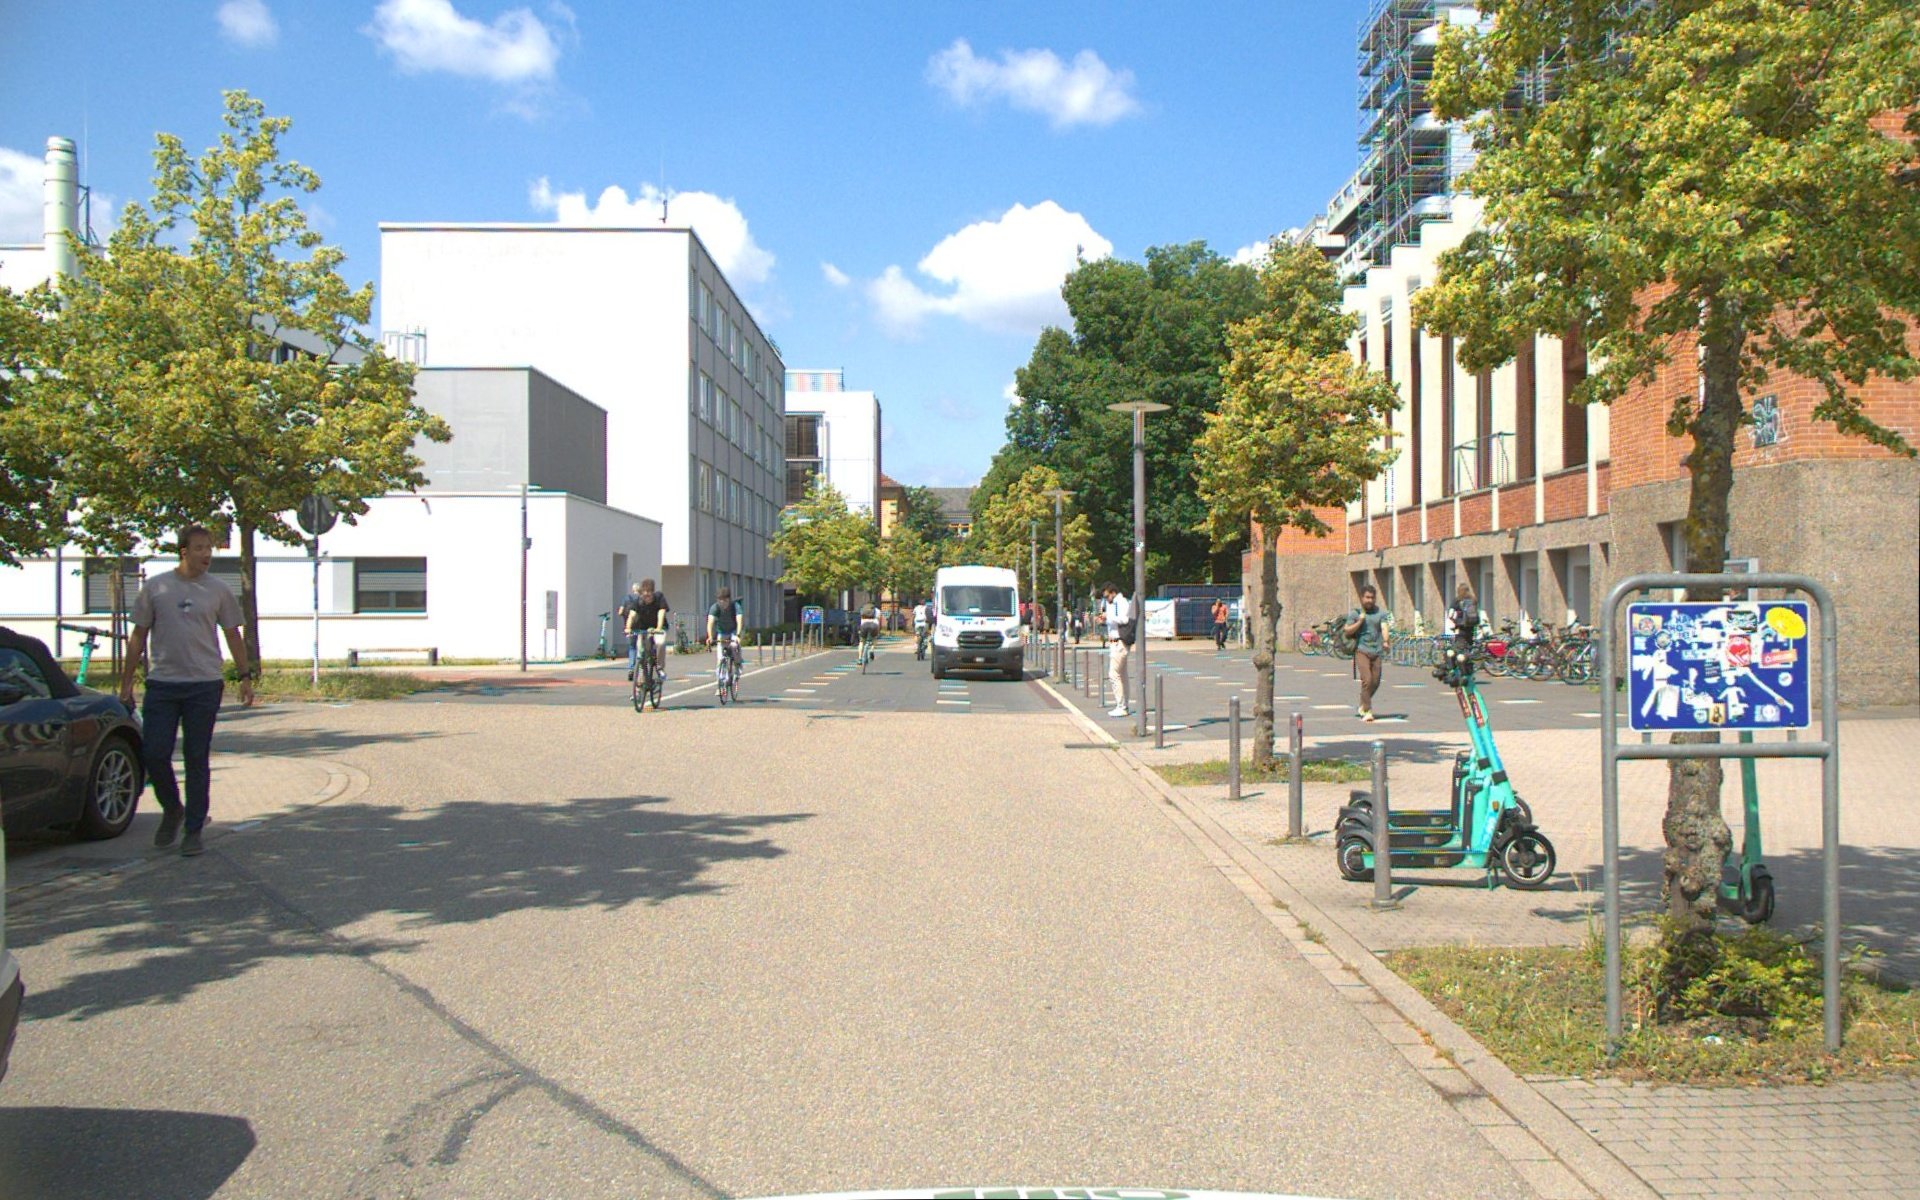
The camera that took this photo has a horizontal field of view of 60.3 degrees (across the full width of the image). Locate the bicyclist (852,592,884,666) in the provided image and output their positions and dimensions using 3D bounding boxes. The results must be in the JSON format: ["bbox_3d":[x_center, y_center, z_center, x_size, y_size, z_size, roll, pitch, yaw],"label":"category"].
[{"bbox_3d":[-2.147,0.674,38.553,0.703,1.691,1.094,0,-1,-4],"label":"bicyclist"}]

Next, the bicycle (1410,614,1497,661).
[{"bbox_3d":[11.062,0.831,37.106,1.772,1.002,0.560,-2,0,-1],"label":"bicycle"}]

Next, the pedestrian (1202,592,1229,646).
[{"bbox_3d":[9.035,0.682,58.492,0.834,1.892,1.117,0,0,5],"label":"pedestrian"}]

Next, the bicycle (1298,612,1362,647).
[{"bbox_3d":[11.085,0.886,49.536,1.772,1.002,0.560,-2,0,-1],"label":"bicycle"}]

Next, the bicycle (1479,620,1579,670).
[{"bbox_3d":[11.273,0.890,32.775,1.772,0.928,0.560,-2,0,-1],"label":"bicycle"}]

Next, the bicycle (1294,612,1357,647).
[{"bbox_3d":[11.152,0.888,50.437,1.772,1.002,0.560,-2,0,-1],"label":"bicycle"}]

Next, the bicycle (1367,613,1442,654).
[{"bbox_3d":[11.573,0.863,43.069,1.772,1.002,0.560,-2,0,-1],"label":"bicycle"}]

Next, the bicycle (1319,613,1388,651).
[{"bbox_3d":[11.049,0.894,46.430,1.772,1.002,0.560,-2,0,-1],"label":"bicycle"}]

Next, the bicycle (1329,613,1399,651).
[{"bbox_3d":[11.139,0.880,45.602,1.772,1.002,0.560,-2,0,-1],"label":"bicycle"}]

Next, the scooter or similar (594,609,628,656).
[{"bbox_3d":[-9.384,0.859,44.480,0.369,1.238,1.206,-1,0,16],"label":"scooter or similar"}]

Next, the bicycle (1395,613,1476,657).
[{"bbox_3d":[11.460,0.848,39.880,1.772,1.002,0.560,-2,0,-1],"label":"bicycle"}]

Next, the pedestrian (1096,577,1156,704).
[{"bbox_3d":[2.331,0.561,23.313,0.688,1.724,0.962,-3,0,0],"label":"pedestrian"}]

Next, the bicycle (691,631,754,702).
[{"bbox_3d":[-3.572,0.987,25.034,0.663,0.981,2.002,2,0,-1],"label":"bicycle"}]

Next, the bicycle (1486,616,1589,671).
[{"bbox_3d":[11.176,0.845,32.017,1.772,1.002,0.560,-2,0,-1],"label":"bicycle"}]

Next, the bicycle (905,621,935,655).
[{"bbox_3d":[-1.254,1.213,52.018,0.791,1.020,2.124,0,-2,2],"label":"bicycle"}]

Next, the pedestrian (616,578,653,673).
[{"bbox_3d":[-6.306,0.497,32.011,0.655,1.817,0.982,1,-2,-13],"label":"pedestrian"}]

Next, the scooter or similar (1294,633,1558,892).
[{"bbox_3d":[2.510,0.829,8.928,1.237,1.287,0.649,-1,-1,32],"label":"scooter or similar"}]

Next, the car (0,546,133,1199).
[{"bbox_3d":[-3.045,0.619,1.909,1.879,1.647,4.519,3,-1,-1],"label":"car"}]

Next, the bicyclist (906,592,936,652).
[{"bbox_3d":[-1.211,0.686,51.989,0.755,1.786,0.848,4,0,2],"label":"bicyclist"}]

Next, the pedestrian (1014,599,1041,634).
[{"bbox_3d":[4.228,1.021,103.212,1.469,2.031,1.646,-3,0,-2],"label":"pedestrian"}]

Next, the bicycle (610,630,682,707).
[{"bbox_3d":[-4.333,0.926,22.923,0.663,0.982,2.002,1,0,-2],"label":"bicycle"}]

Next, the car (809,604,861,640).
[{"bbox_3d":[-5.560,0.972,73.930,1.758,1.557,4.002,0,0,4],"label":"car"}]

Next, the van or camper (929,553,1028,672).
[{"bbox_3d":[0.351,0.304,37.173,1.954,2.489,4.567,1,-1,-3],"label":"van or camper"}]

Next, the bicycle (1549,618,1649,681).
[{"bbox_3d":[11.083,0.860,28.709,1.503,1.051,0.560,-1,-1,-1],"label":"bicycle"}]

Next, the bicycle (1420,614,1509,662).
[{"bbox_3d":[11.127,0.833,36.477,1.772,1.002,0.560,-2,0,-1],"label":"bicycle"}]

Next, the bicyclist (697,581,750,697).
[{"bbox_3d":[-3.568,0.581,24.993,0.654,1.711,0.992,-1,-1,-1],"label":"bicyclist"}]

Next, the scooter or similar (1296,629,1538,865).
[{"bbox_3d":[2.676,0.817,9.703,1.237,1.287,0.649,-1,-1,32],"label":"scooter or similar"}]

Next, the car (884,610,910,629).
[{"bbox_3d":[-5.364,1.620,140.581,1.758,1.557,4.002,0,0,4],"label":"car"}]

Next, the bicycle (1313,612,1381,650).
[{"bbox_3d":[11.028,0.880,47.136,1.772,1.002,0.560,-2,0,-1],"label":"bicycle"}]

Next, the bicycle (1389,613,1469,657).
[{"bbox_3d":[11.473,0.851,40.495,1.772,1.002,0.560,-2,0,-1],"label":"bicycle"}]

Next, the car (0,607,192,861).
[{"bbox_3d":[-5.821,0.708,8.770,1.611,1.323,3.928,0,0,1],"label":"car"}]

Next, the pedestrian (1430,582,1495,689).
[{"bbox_3d":[9.010,0.629,29.703,0.774,1.892,1.116,0,0,-2],"label":"pedestrian"}]

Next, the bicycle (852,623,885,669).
[{"bbox_3d":[-2.161,1.062,38.828,0.693,1.010,1.908,-2,0,-5],"label":"bicycle"}]

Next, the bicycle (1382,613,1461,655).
[{"bbox_3d":[11.464,0.845,41.117,1.772,1.002,0.560,-2,0,-1],"label":"bicycle"}]

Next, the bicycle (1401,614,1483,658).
[{"bbox_3d":[11.447,0.851,39.293,1.772,1.002,0.560,-2,0,-1],"label":"bicycle"}]

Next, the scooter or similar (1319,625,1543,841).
[{"bbox_3d":[2.992,0.807,10.518,1.237,1.287,0.638,-1,-1,32],"label":"scooter or similar"}]

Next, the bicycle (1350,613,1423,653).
[{"bbox_3d":[11.408,0.878,44.267,1.772,1.002,0.560,-2,0,-1],"label":"bicycle"}]

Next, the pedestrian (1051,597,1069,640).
[{"bbox_3d":[4.509,0.824,74.563,0.773,1.892,1.243,0,0,1],"label":"pedestrian"}]

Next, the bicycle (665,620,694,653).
[{"bbox_3d":[-8.780,1.127,51.833,0.512,1.002,1.633,-2,0,4],"label":"bicycle"}]

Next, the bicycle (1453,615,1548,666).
[{"bbox_3d":[11.286,0.839,34.539,1.772,1.002,0.560,-2,0,-1],"label":"bicycle"}]

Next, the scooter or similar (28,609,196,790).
[{"bbox_3d":[-6.586,0.746,12.895,0.493,1.322,1.217,-1,0,12],"label":"scooter or similar"}]

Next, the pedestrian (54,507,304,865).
[{"bbox_3d":[-4.492,0.481,9.630,0.996,1.937,1.175,1,-1,-10],"label":"pedestrian"}]

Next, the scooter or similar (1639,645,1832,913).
[{"bbox_3d":[3.782,0.826,8.156,0.635,1.181,1.265,-1,0,15],"label":"scooter or similar"}]

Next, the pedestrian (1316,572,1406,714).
[{"bbox_3d":[5.134,0.535,21.222,0.836,1.763,1.160,0,0,-2],"label":"pedestrian"}]

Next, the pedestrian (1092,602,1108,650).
[{"bbox_3d":[5.589,1.029,66.062,0.564,1.892,0.569,0,-1,-2],"label":"pedestrian"}]

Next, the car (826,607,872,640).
[{"bbox_3d":[-5.430,1.120,81.343,1.758,1.557,4.002,0,0,4],"label":"car"}]

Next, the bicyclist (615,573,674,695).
[{"bbox_3d":[-4.354,0.463,22.880,0.630,1.629,0.909,-1,0,-1],"label":"bicyclist"}]

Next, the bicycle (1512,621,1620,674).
[{"bbox_3d":[11.170,0.877,30.514,1.772,0.928,0.560,-1,0,-1],"label":"bicycle"}]

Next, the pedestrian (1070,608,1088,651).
[{"bbox_3d":[5.343,1.315,74.343,0.773,1.892,1.026,0,-1,1],"label":"pedestrian"}]

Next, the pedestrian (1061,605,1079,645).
[{"bbox_3d":[5.169,1.163,77.967,0.773,1.892,1.026,0,-1,1],"label":"pedestrian"}]

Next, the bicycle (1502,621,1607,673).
[{"bbox_3d":[11.243,0.883,31.317,1.772,0.928,0.560,-1,0,-1],"label":"bicycle"}]

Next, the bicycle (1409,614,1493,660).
[{"bbox_3d":[11.484,0.861,38.691,1.772,1.002,0.560,-2,0,-1],"label":"bicycle"}]
